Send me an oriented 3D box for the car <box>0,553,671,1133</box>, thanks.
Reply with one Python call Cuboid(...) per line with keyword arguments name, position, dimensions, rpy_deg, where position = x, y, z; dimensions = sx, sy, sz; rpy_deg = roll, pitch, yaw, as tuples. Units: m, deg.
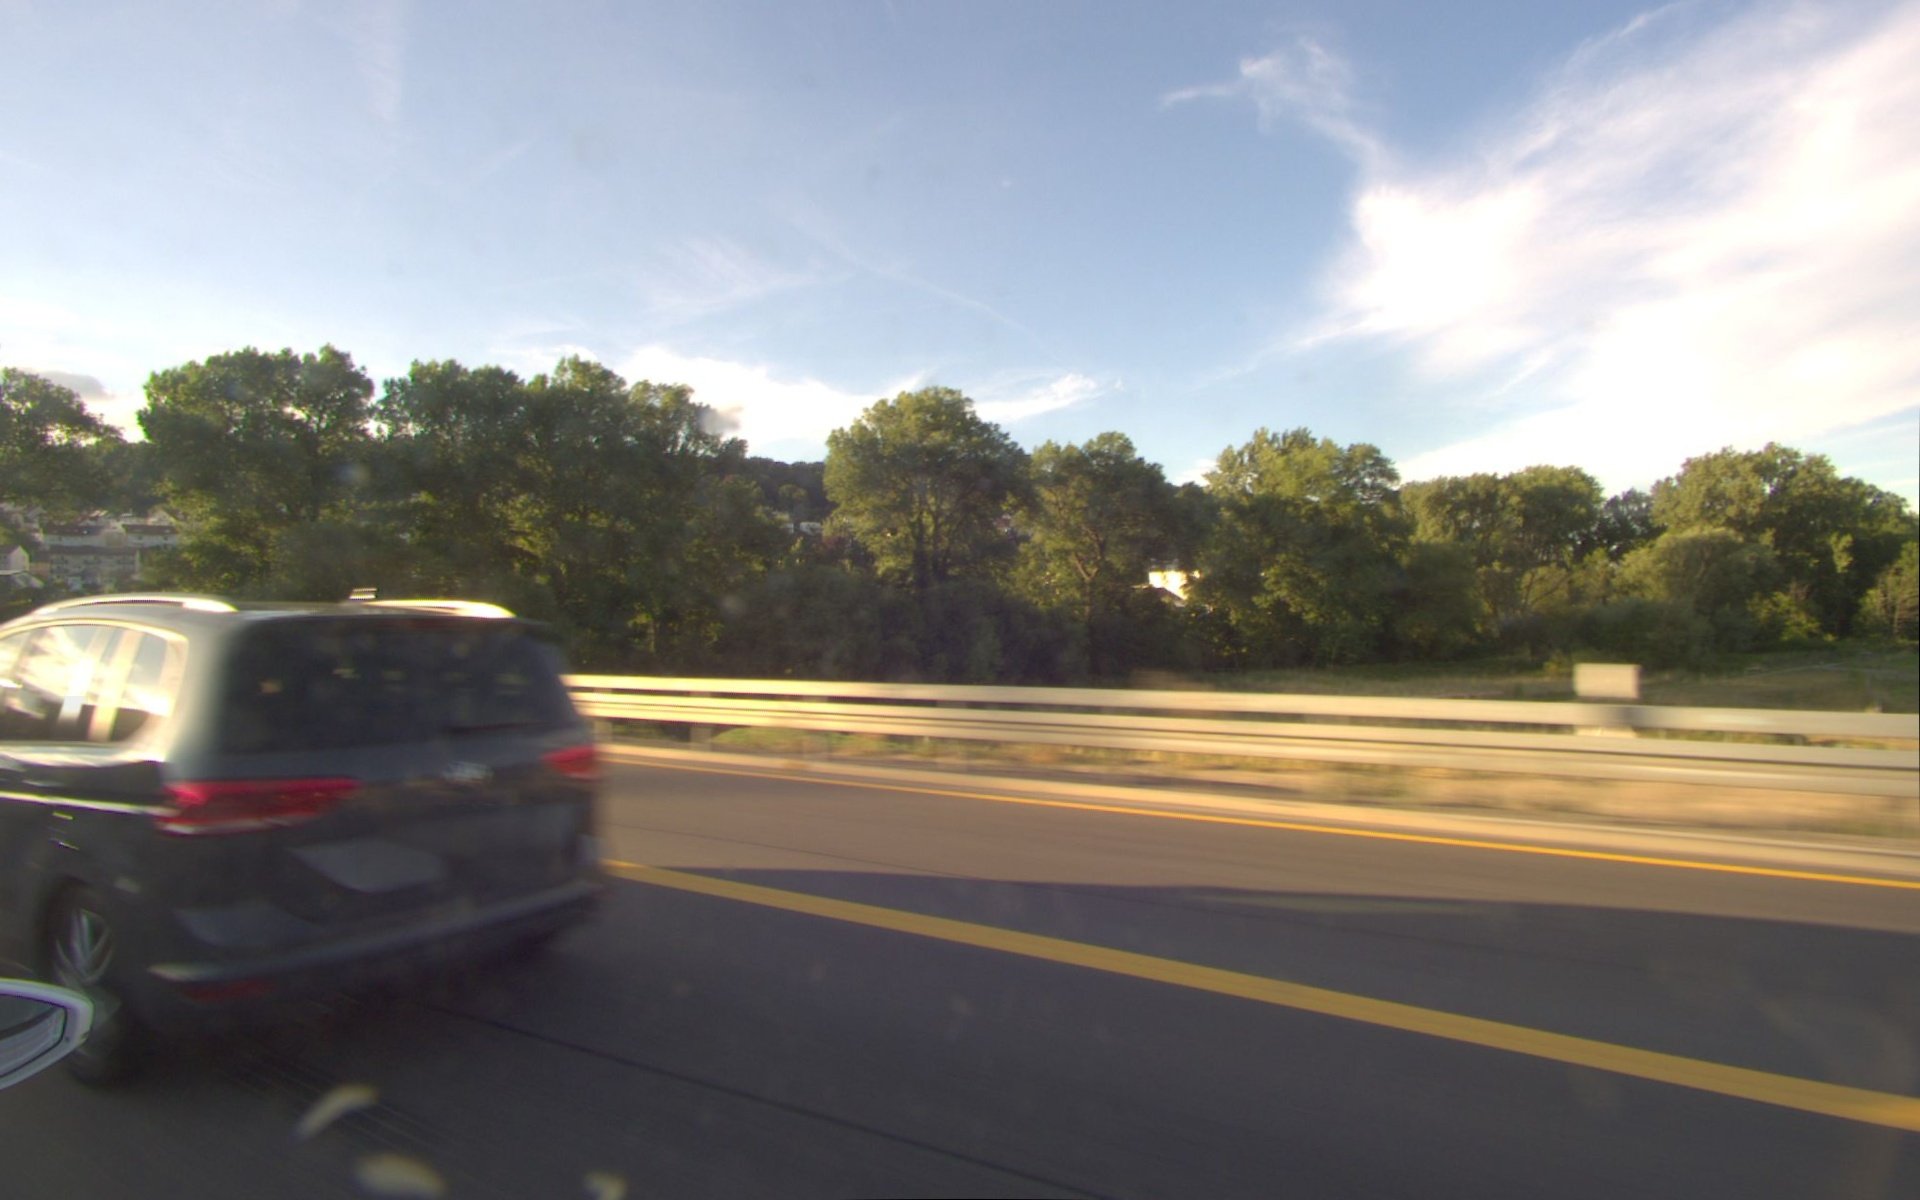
Cuboid(name="car", position=(-3.643, 0.800, 4.793), dimensions=(4.461, 1.635, 1.811), rpy_deg=(-2, -4, 31))
